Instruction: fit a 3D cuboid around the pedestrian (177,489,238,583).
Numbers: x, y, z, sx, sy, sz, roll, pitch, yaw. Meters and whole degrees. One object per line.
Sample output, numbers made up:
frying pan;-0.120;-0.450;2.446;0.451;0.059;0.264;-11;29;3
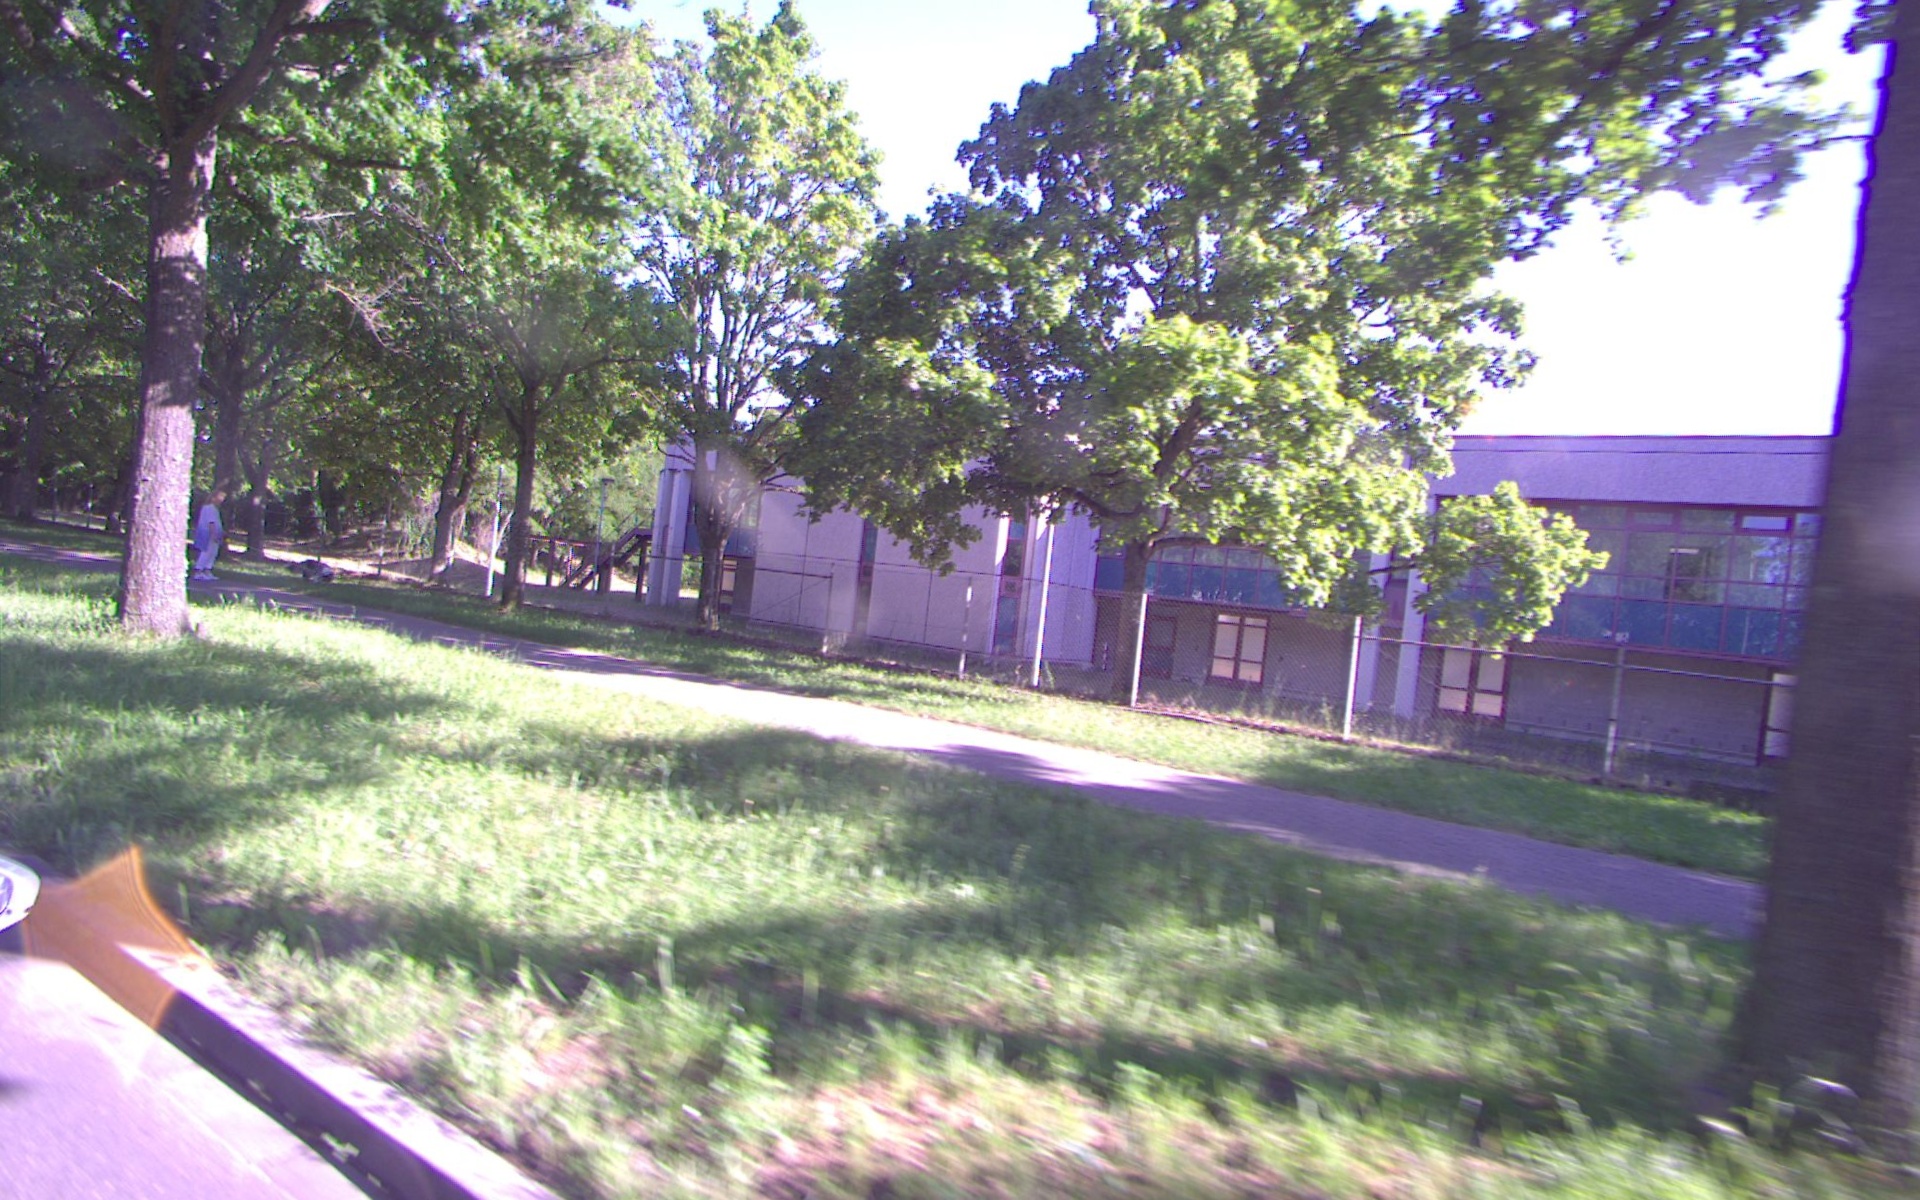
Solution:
pedestrian;-14.113;-1.197;18.888;0.709;1.653;0.606;5;3;-23
